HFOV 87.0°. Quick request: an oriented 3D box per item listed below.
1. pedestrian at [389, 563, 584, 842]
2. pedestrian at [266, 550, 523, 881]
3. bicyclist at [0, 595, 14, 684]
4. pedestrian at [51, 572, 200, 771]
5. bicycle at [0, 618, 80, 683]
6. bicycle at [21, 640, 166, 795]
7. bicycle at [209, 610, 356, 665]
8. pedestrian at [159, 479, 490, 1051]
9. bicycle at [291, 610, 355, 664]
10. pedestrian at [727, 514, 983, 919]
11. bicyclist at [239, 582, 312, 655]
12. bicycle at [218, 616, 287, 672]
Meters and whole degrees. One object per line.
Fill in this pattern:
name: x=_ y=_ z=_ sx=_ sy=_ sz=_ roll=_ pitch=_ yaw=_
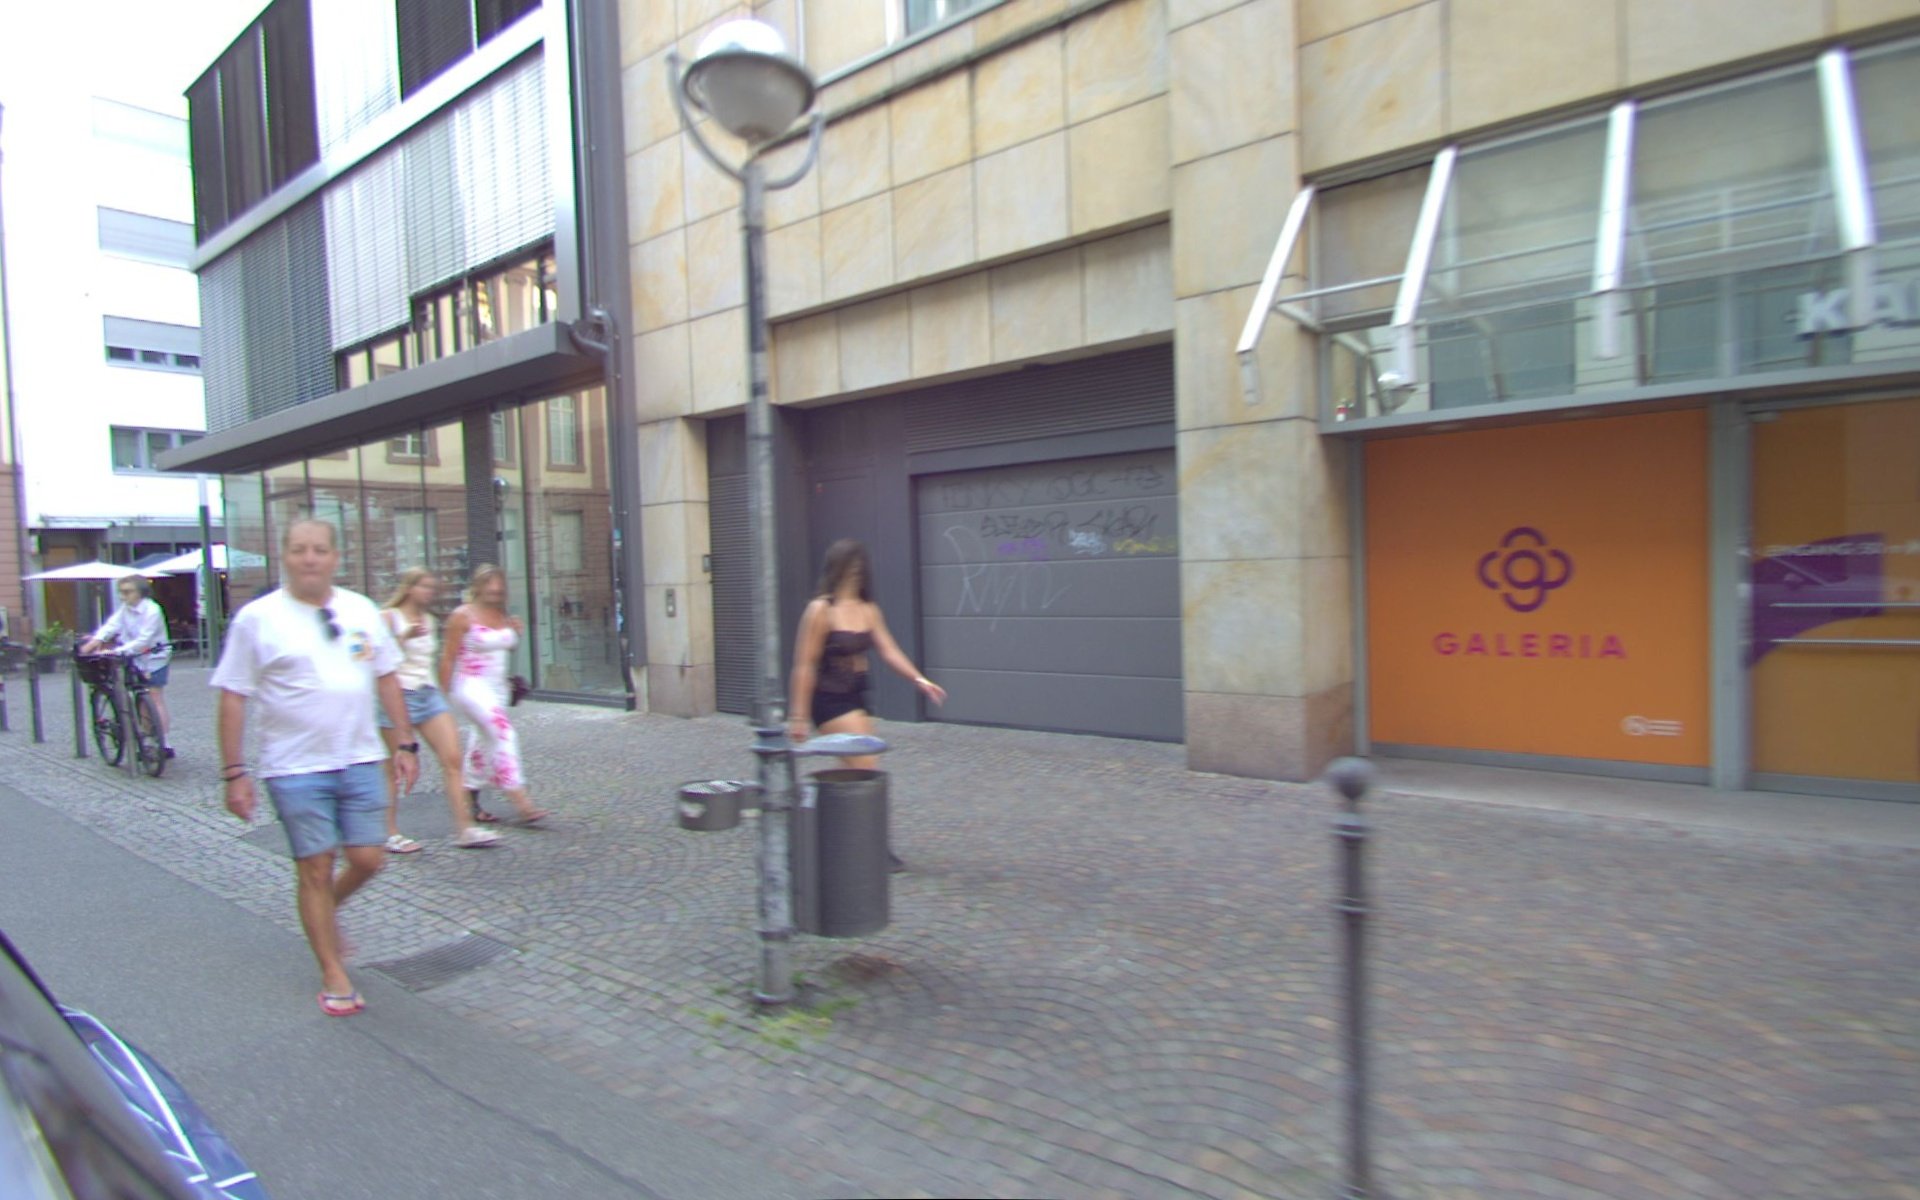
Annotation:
pedestrian: x=-3.029 y=0.620 z=6.524 sx=0.852 sy=1.677 sz=0.673 roll=-2 pitch=1 yaw=15
pedestrian: x=-3.220 y=0.612 z=5.827 sx=0.940 sy=1.742 sz=0.805 roll=-2 pitch=1 yaw=15
bicyclist: x=-20.511 y=0.838 z=20.773 sx=0.922 sy=1.831 sz=1.451 roll=-2 pitch=1 yaw=39
pedestrian: x=-7.687 y=0.629 z=9.352 sx=0.584 sy=1.731 sz=0.769 roll=-3 pitch=2 yaw=7
bicycle: x=-20.363 y=1.096 z=20.939 sx=0.922 sy=1.269 sz=3.117 roll=-2 pitch=1 yaw=38
bicycle: x=-7.545 y=0.958 z=8.779 sx=1.912 sy=1.162 sz=0.528 roll=-1 pitch=3 yaw=38
bicycle: x=-17.022 y=0.904 z=25.515 sx=0.894 sy=1.177 sz=2.915 roll=-1 pitch=2 yaw=41
pedestrian: x=-2.379 y=0.528 z=3.804 sx=0.876 sy=1.836 sz=0.735 roll=-1 pitch=1 yaw=36
bicycle: x=-14.722 y=0.868 z=23.375 sx=1.838 sy=1.159 sz=0.602 roll=-3 pitch=0 yaw=37
pedestrian: x=-0.524 y=0.516 z=5.107 sx=0.970 sy=1.809 sz=0.778 roll=-1 pitch=1 yaw=35
bicyclist: x=-17.159 y=0.445 z=25.376 sx=0.894 sy=1.741 sz=1.267 roll=-1 pitch=1 yaw=41
bicycle: x=-15.351 y=0.961 z=21.949 sx=1.671 sy=1.121 sz=0.701 roll=-3 pitch=0 yaw=37
